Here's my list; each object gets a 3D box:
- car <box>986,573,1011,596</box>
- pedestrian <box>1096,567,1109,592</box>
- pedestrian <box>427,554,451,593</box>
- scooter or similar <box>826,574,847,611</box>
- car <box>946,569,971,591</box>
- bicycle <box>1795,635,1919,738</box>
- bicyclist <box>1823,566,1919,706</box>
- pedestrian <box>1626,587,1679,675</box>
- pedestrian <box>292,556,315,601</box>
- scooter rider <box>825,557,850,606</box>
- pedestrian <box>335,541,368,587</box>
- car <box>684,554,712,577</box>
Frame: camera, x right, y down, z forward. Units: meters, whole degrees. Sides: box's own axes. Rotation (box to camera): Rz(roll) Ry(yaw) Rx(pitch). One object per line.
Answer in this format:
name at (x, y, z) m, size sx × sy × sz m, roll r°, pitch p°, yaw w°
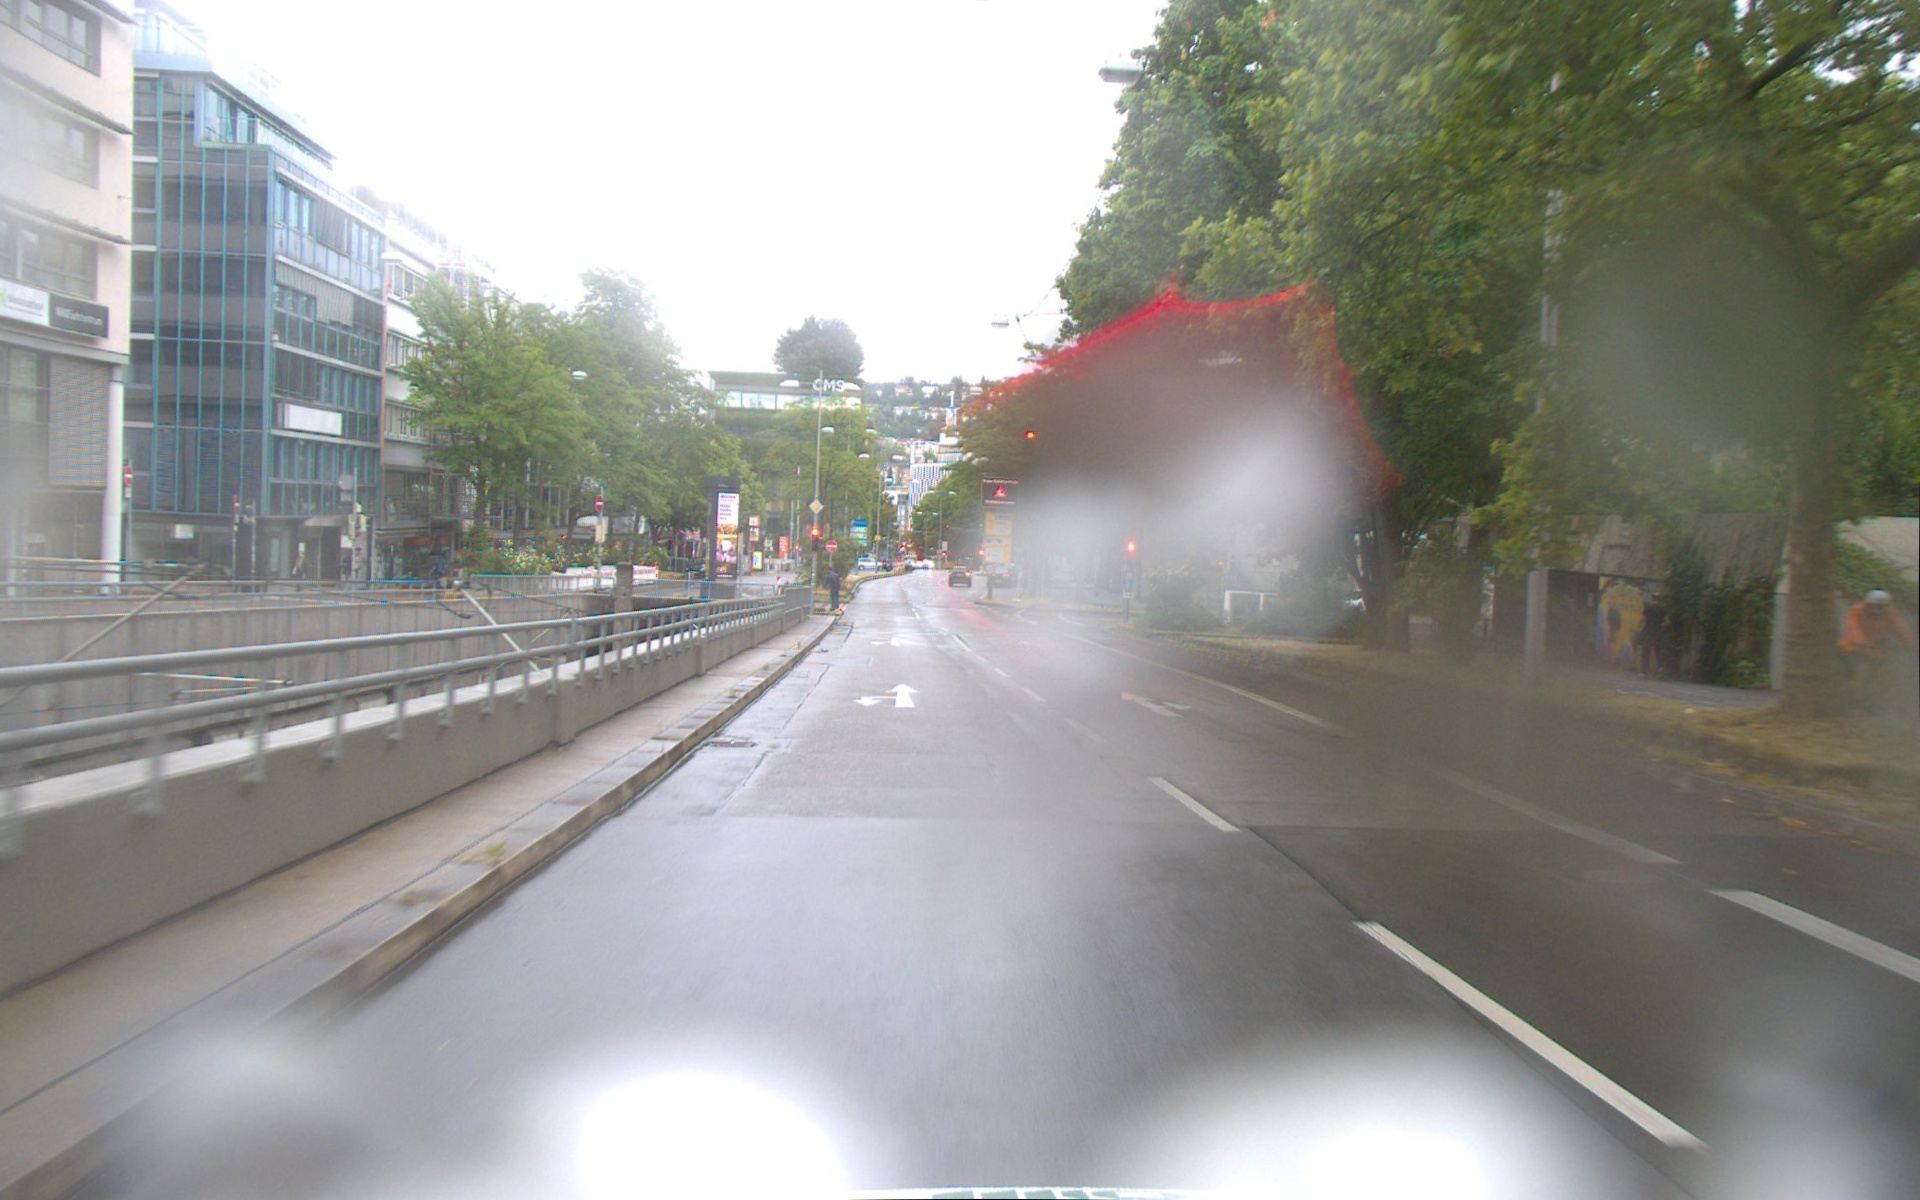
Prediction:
car at (3.078, -1.265, 131.708) m, size 1.862 × 1.713 × 3.912 m, roll 3°, pitch 1°, yaw 1°
pedestrian at (9.475, -1.373, 109.955) m, size 0.770 × 1.584 × 0.533 m, roll 3°, pitch 0°, yaw -1°
pedestrian at (-25.978, -1.324, 82.485) m, size 0.860 × 1.900 × 0.866 m, roll 3°, pitch 1°, yaw -5°
scooter or similar at (-5.059, -0.311, 67.842) m, size 0.536 × 1.443 × 1.949 m, roll 2°, pitch 1°, yaw -12°
car at (-0.148, -1.584, 130.031) m, size 1.711 × 1.545 × 4.105 m, roll 3°, pitch 1°, yaw -3°
bicycle at (11.255, 1.039, 20.515) m, size 0.789 × 1.131 × 2.199 m, roll 2°, pitch 0°, yaw 4°
bicyclist at (11.269, 0.425, 20.325) m, size 0.789 × 1.656 × 1.047 m, roll 2°, pitch 0°, yaw 4°
pedestrian at (15.182, 0.667, 36.269) m, size 0.790 × 1.897 × 1.057 m, roll 1°, pitch 0°, yaw 7°
pedestrian at (-24.899, -0.823, 62.758) m, size 0.651 × 1.700 × 0.487 m, roll 2°, pitch 0°, yaw -4°
scooter rider at (-5.018, -0.763, 67.738) m, size 0.794 × 1.982 × 0.820 m, roll 3°, pitch 1°, yaw -12°
pedestrian at (-26.137, -1.553, 71.071) m, size 0.846 × 1.900 × 0.960 m, roll 3°, pitch 1°, yaw 16°
car at (-20.642, -2.752, 130.262) m, size 1.745 × 1.582 × 3.892 m, roll 3°, pitch 3°, yaw -3°
